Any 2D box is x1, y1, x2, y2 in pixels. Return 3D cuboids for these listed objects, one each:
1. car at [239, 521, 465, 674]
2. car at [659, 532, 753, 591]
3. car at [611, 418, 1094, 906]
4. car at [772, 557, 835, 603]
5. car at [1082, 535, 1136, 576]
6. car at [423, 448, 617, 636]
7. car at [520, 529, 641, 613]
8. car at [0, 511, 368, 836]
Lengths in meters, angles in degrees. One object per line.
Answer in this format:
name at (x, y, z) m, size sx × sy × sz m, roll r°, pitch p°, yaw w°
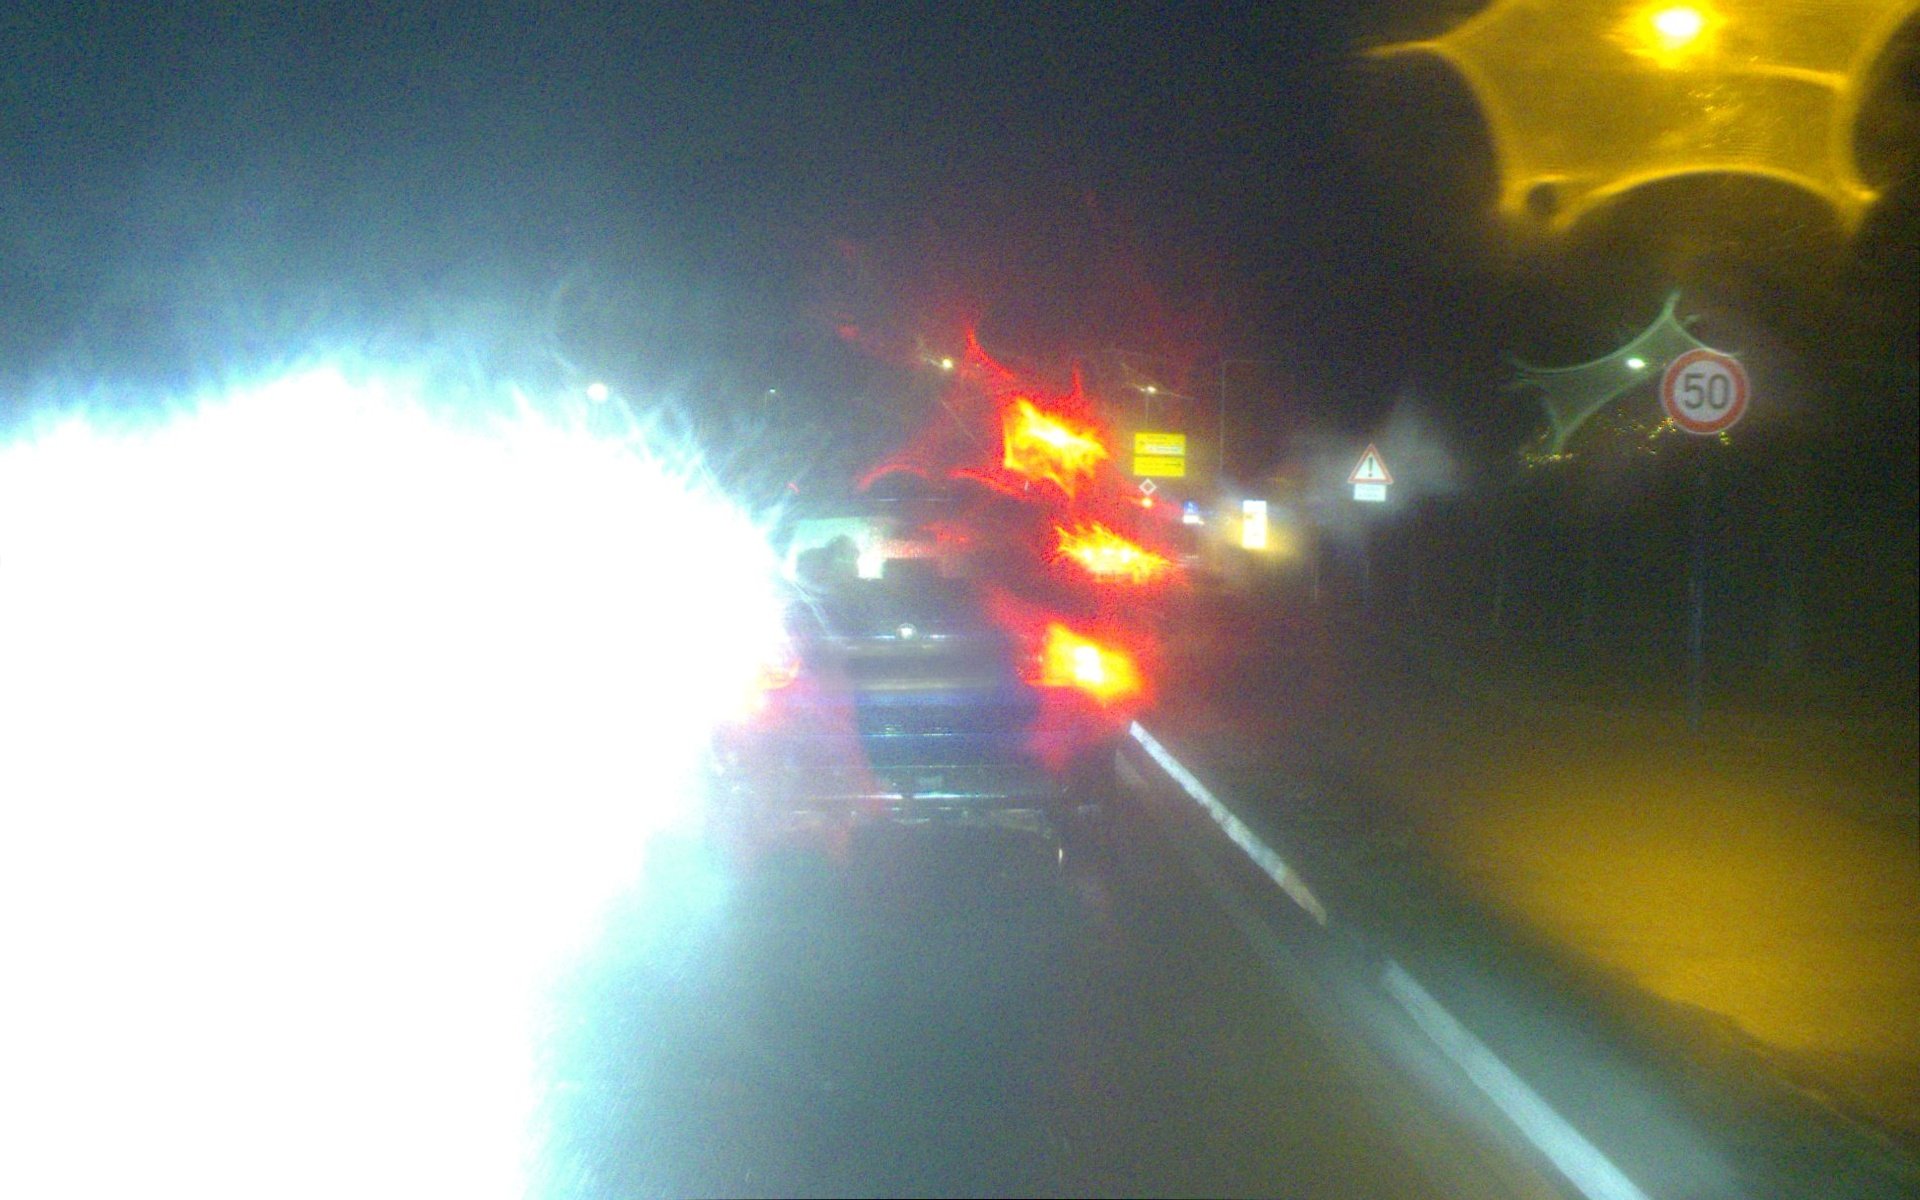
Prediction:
car at (-6.649, -0.069, 37.998) m, size 1.720 × 1.583 × 4.312 m, roll 1°, pitch 1°, yaw 0°
car at (-6.431, -0.995, 87.562) m, size 2.077 × 1.444 × 4.992 m, roll 1°, pitch 1°, yaw -1°
car at (-0.488, 0.208, 16.077) m, size 1.942 × 1.965 × 4.218 m, roll 1°, pitch 1°, yaw -1°
car at (-5.205, -0.684, 114.721) m, size 1.918 × 1.439 × 4.546 m, roll 1°, pitch 1°, yaw -1°
car at (5.351, -1.591, 123.127) m, size 1.663 × 1.445 × 4.049 m, roll 0°, pitch 0°, yaw 6°
car at (-6.716, -0.904, 53.135) m, size 2.122 × 2.698 × 6.241 m, roll 1°, pitch 1°, yaw 0°
car at (-7.246, -0.575, 65.920) m, size 1.878 × 1.532 × 3.988 m, roll 1°, pitch 1°, yaw 0°
car at (-4.414, 0.325, 19.480) m, size 1.804 × 1.624 × 4.417 m, roll 1°, pitch 1°, yaw -6°
